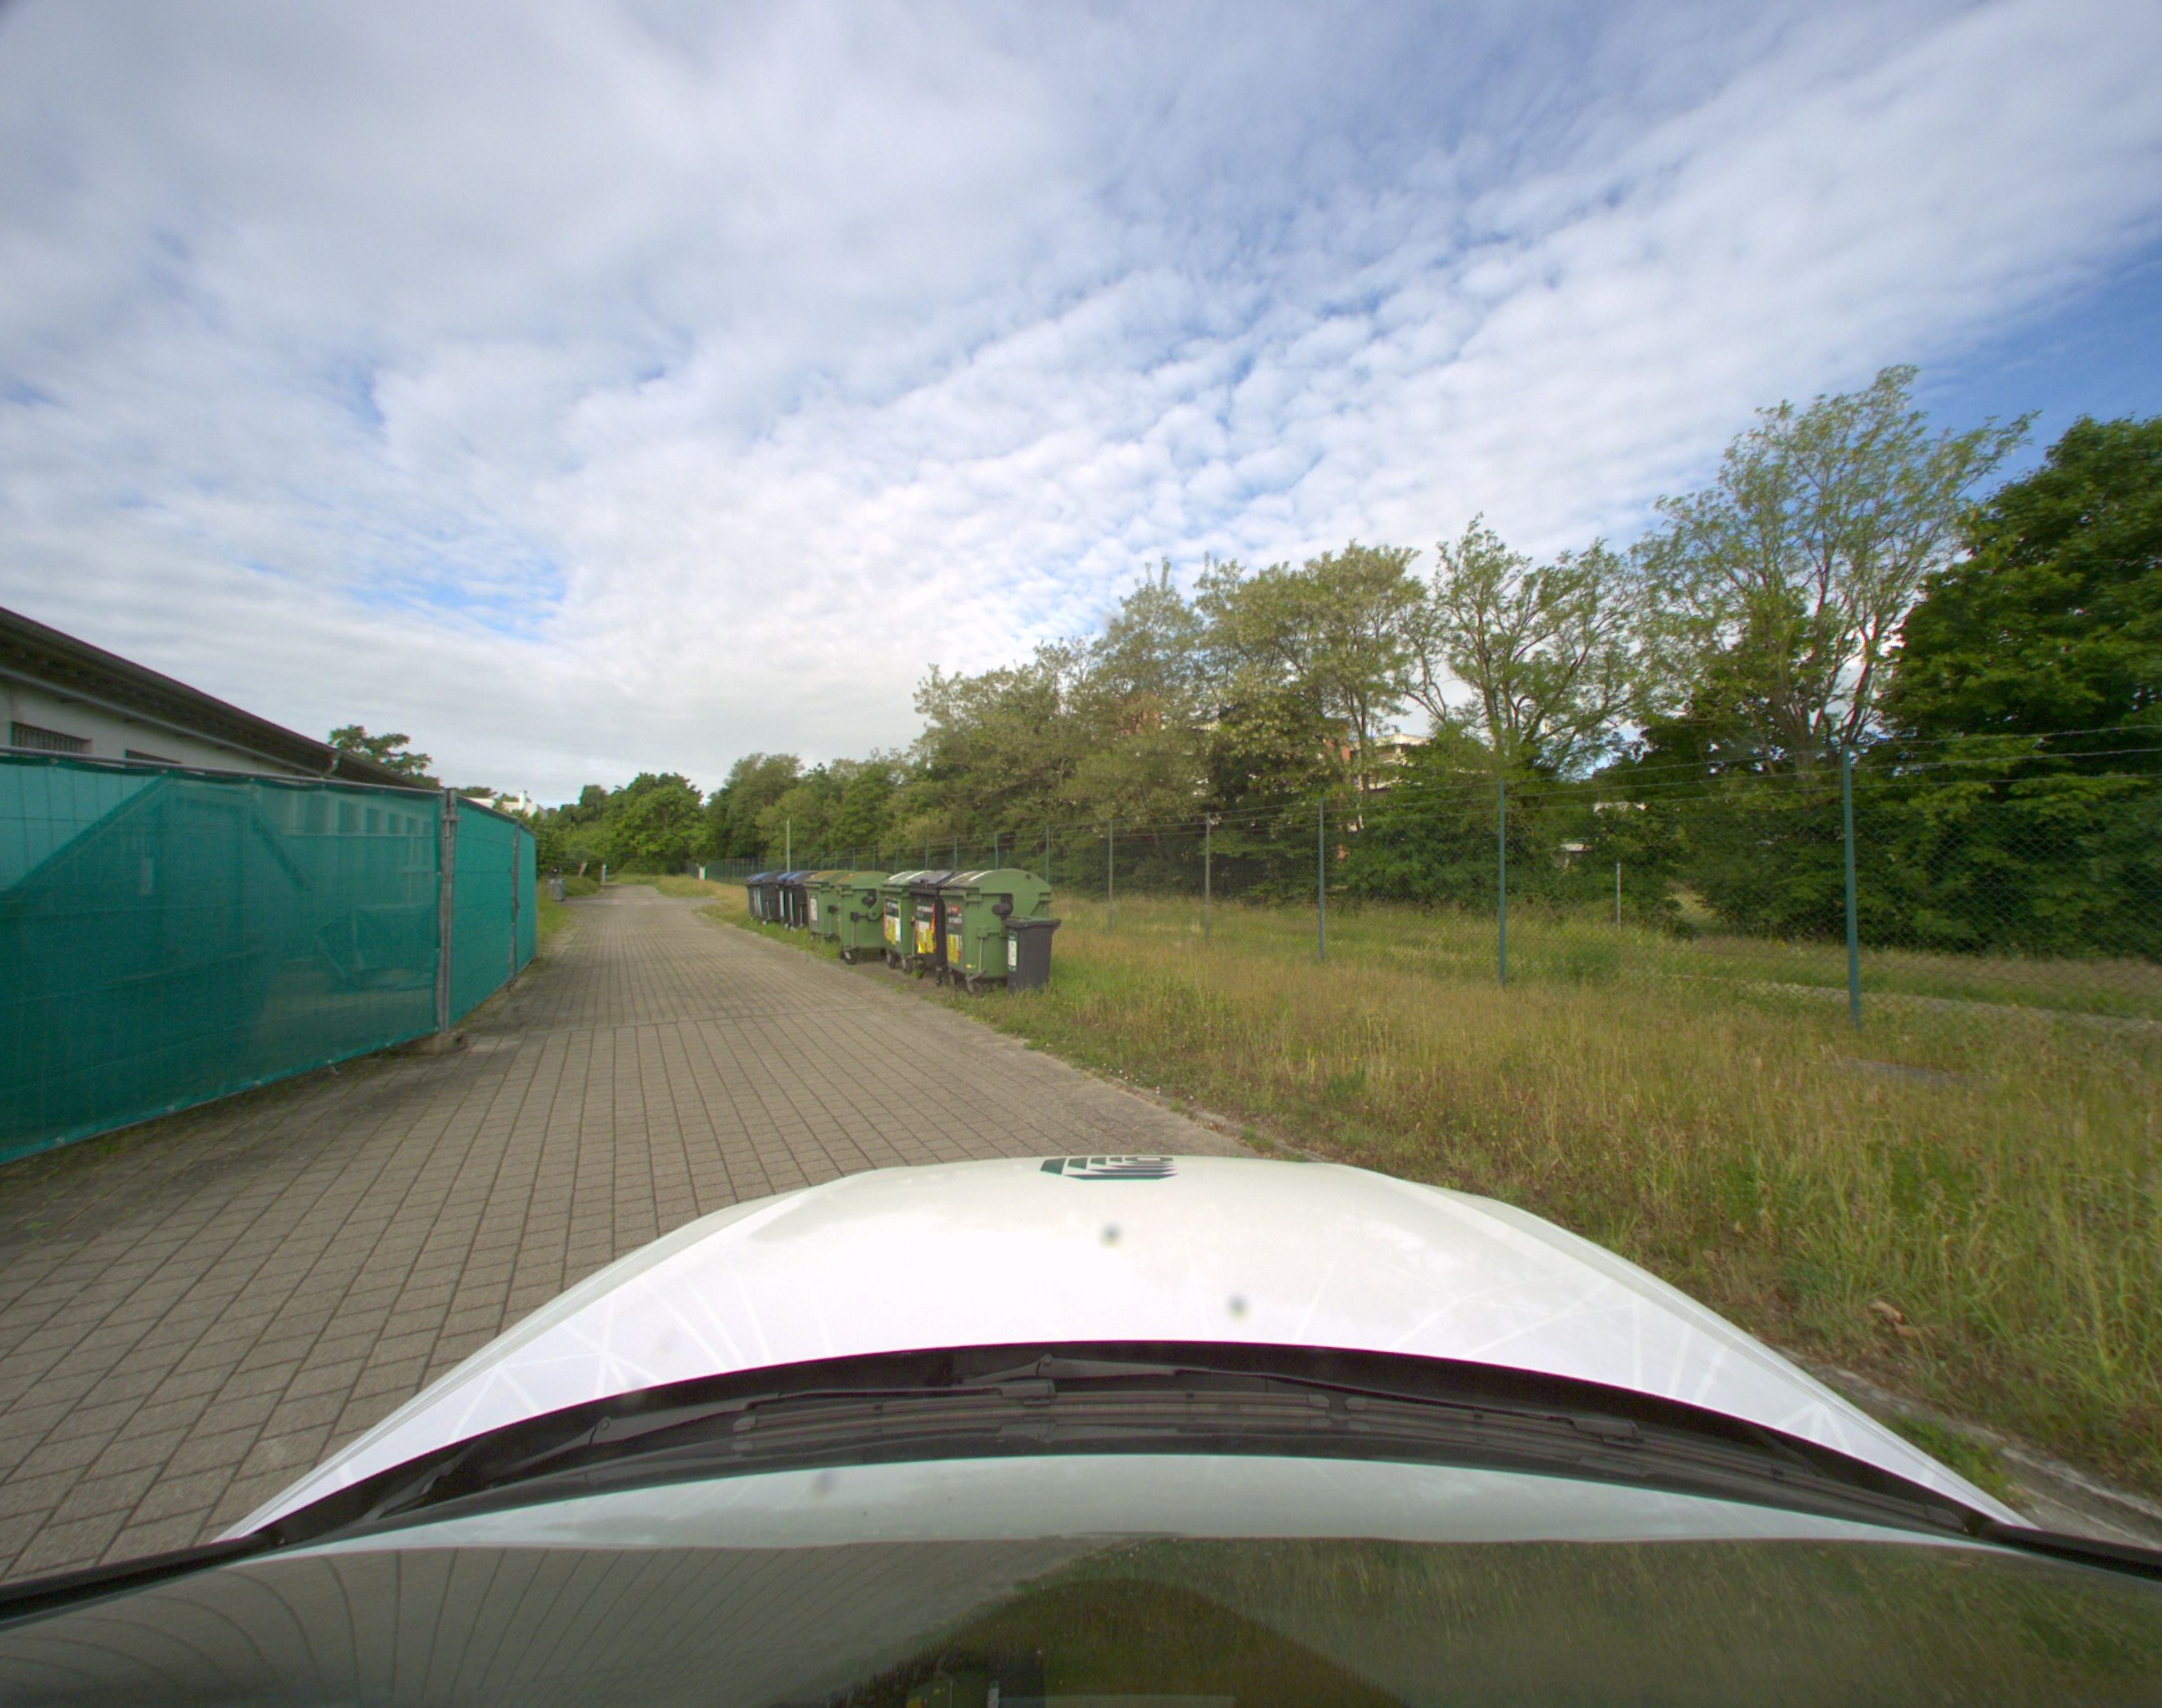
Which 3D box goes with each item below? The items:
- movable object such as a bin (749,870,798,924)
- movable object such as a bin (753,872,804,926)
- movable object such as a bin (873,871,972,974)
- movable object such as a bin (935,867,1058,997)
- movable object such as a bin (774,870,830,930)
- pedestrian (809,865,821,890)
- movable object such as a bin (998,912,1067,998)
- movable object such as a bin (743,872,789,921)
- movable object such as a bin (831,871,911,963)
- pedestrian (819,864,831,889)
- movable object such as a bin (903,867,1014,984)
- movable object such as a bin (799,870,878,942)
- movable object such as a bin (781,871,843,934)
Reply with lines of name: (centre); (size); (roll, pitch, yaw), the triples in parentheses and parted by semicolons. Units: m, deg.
movable object such as a bin: (-8.307, 1.151, 21.980); (1.128, 1.379, 1.314); (1, -3, -24)
movable object such as a bin: (-7.739, 1.126, 20.819); (1.128, 1.321, 1.314); (1, -2, -24)
movable object such as a bin: (-2.344, 0.963, 11.960); (1.075, 1.406, 1.373); (2, -3, -27)
movable object such as a bin: (-1.026, 0.878, 9.647); (1.132, 1.396, 1.346); (1, -3, -21)
movable object such as a bin: (-6.762, 1.096, 19.665); (1.128, 1.374, 1.481); (1, -3, -24)
pedestrian: (-21.208, 1.862, 64.888); (0.764, 2.014, 0.657); (1, -2, -31)
movable object such as a bin: (-0.533, 1.068, 8.813); (0.602, 0.866, 0.581); (1, -3, -21)
movable object such as a bin: (-8.992, 1.204, 23.209); (1.128, 1.351, 1.414); (1, -3, -24)
movable object such as a bin: (-3.409, 0.985, 13.159); (1.126, 1.398, 1.376); (1, -3, -19)
pedestrian: (-20.494, 1.803, 65.288); (0.764, 2.014, 0.657); (1, -2, -31)
movable object such as a bin: (-1.654, 0.910, 10.836); (1.075, 1.435, 1.386); (2, -3, -27)
movable object such as a bin: (-4.604, 0.966, 15.437); (1.130, 1.296, 1.366); (2, -3, -31)
movable object such as a bin: (-6.055, 1.067, 18.265); (1.159, 1.325, 1.481); (1, -3, -24)
